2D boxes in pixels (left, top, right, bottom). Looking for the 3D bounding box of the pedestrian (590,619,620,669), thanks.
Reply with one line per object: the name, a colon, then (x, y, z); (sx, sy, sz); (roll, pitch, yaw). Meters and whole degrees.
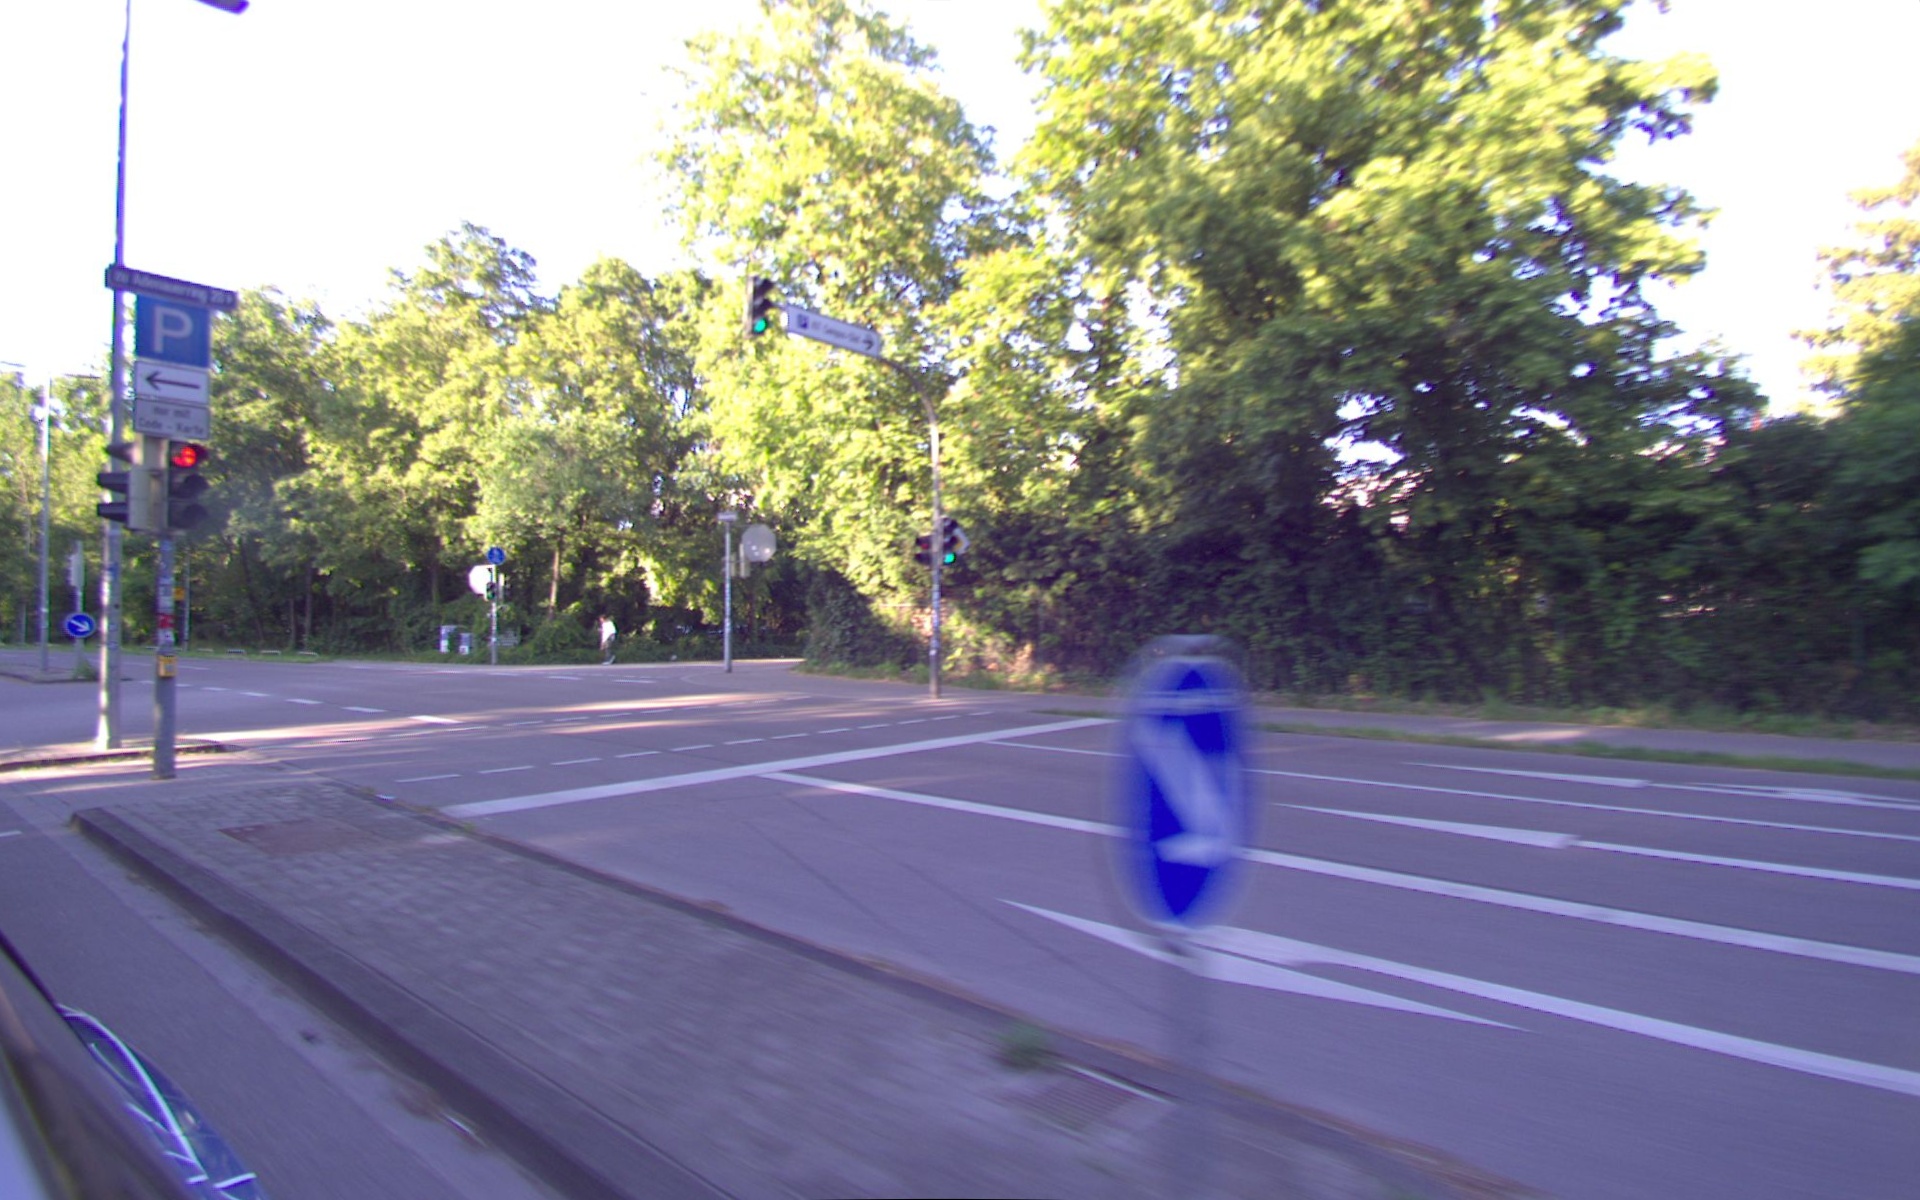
pedestrian: (-12.259, 1.514, 34.955); (0.818, 1.724, 0.641); (-1, -2, 39)
